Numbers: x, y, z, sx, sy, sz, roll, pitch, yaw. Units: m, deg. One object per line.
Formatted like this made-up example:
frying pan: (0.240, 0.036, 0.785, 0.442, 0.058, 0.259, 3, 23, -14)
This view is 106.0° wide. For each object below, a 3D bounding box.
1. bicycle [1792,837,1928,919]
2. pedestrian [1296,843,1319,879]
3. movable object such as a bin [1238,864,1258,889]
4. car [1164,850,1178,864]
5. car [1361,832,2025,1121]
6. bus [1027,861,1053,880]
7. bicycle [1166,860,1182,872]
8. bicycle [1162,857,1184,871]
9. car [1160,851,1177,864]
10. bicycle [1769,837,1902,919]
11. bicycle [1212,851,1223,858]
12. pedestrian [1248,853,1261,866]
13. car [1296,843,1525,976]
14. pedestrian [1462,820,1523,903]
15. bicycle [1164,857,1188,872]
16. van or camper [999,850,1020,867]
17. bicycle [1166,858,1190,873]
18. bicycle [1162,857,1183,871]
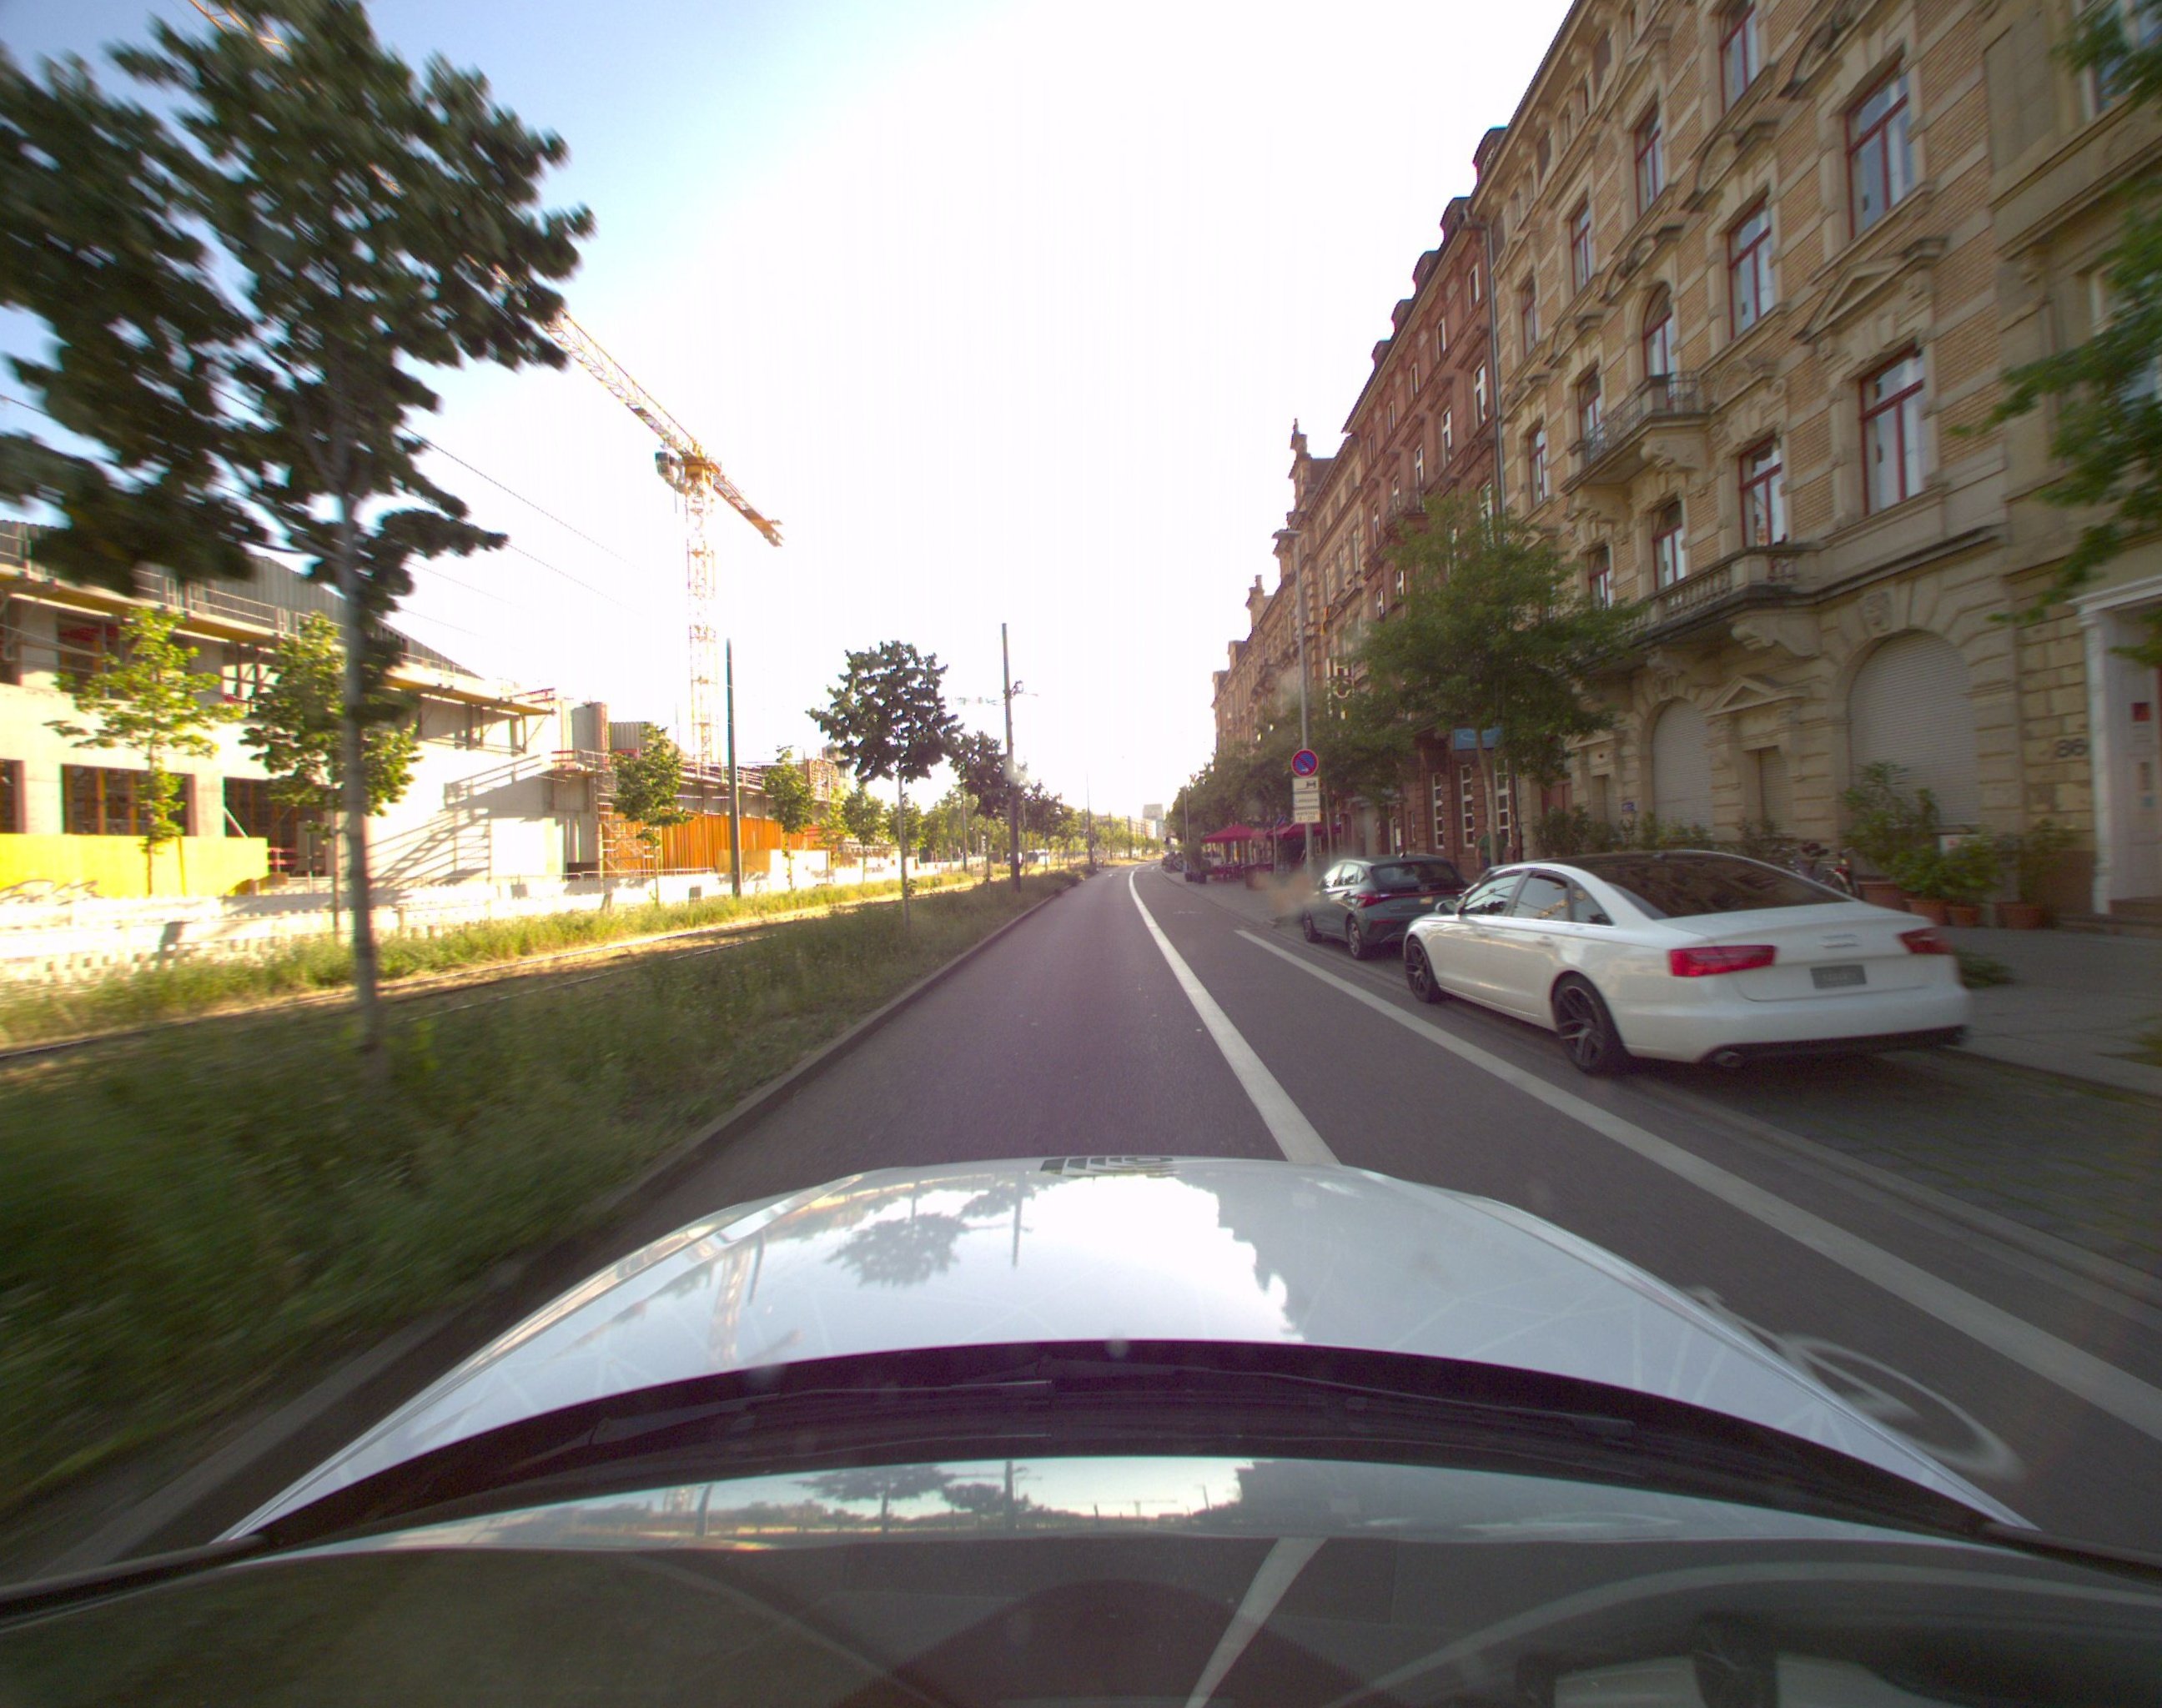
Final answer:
bicycle: (11.134, 0.325, 11.711, 0.383, 1.080, 1.677, -2, 0, 3)
pedestrian: (10.178, 0.313, 36.559, 0.725, 1.534, 0.797, -4, -1, 2)
movable object such as a bin: (6.905, 0.930, 33.667, 0.669, 0.924, 0.563, -6, -2, 22)
car: (13.271, 0.371, 119.924, 1.725, 1.919, 4.402, -4, 0, 7)
car: (4.269, 0.679, 7.108, 1.842, 1.454, 5.253, -4, 0, 1)
bus: (-8.692, 3.539, 174.398, 2.782, 3.595, 12.733, -2, 0, 10)
bicycle: (7.788, 0.992, 67.977, 1.267, 0.877, 0.508, -5, -1, 8)
bicycle: (7.973, 0.863, 70.701, 1.744, 1.104, 0.508, -5, -1, 8)
car: (12.109, 0.426, 112.598, 1.923, 1.598, 4.703, -4, 0, 3)
bicycle: (10.746, 0.327, 11.667, 0.383, 1.080, 1.677, -2, 0, 3)
bicycle: (25.020, 0.112, 149.697, 1.891, 1.093, 0.393, -4, -1, 4)
pedestrian: (13.115, 0.391, 61.460, 0.810, 0.962, 0.805, -3, 0, 4)
car: (4.738, 0.705, 12.471, 1.841, 1.564, 4.300, -4, 0, 3)
pedestrian: (9.156, 0.173, 18.166, 0.744, 1.754, 1.072, -4, -1, 2)
bicycle: (7.741, 0.866, 66.325, 1.834, 1.104, 0.567, -5, -1, 8)
van or camper: (-11.749, 0.706, 134.215, 2.213, 2.510, 7.205, -4, 0, 2)
bicycle: (7.700, 0.893, 64.813, 1.795, 1.047, 0.567, -5, -1, 8)
bicycle: (8.029, 0.872, 71.291, 1.744, 1.104, 0.508, -5, -1, 8)
